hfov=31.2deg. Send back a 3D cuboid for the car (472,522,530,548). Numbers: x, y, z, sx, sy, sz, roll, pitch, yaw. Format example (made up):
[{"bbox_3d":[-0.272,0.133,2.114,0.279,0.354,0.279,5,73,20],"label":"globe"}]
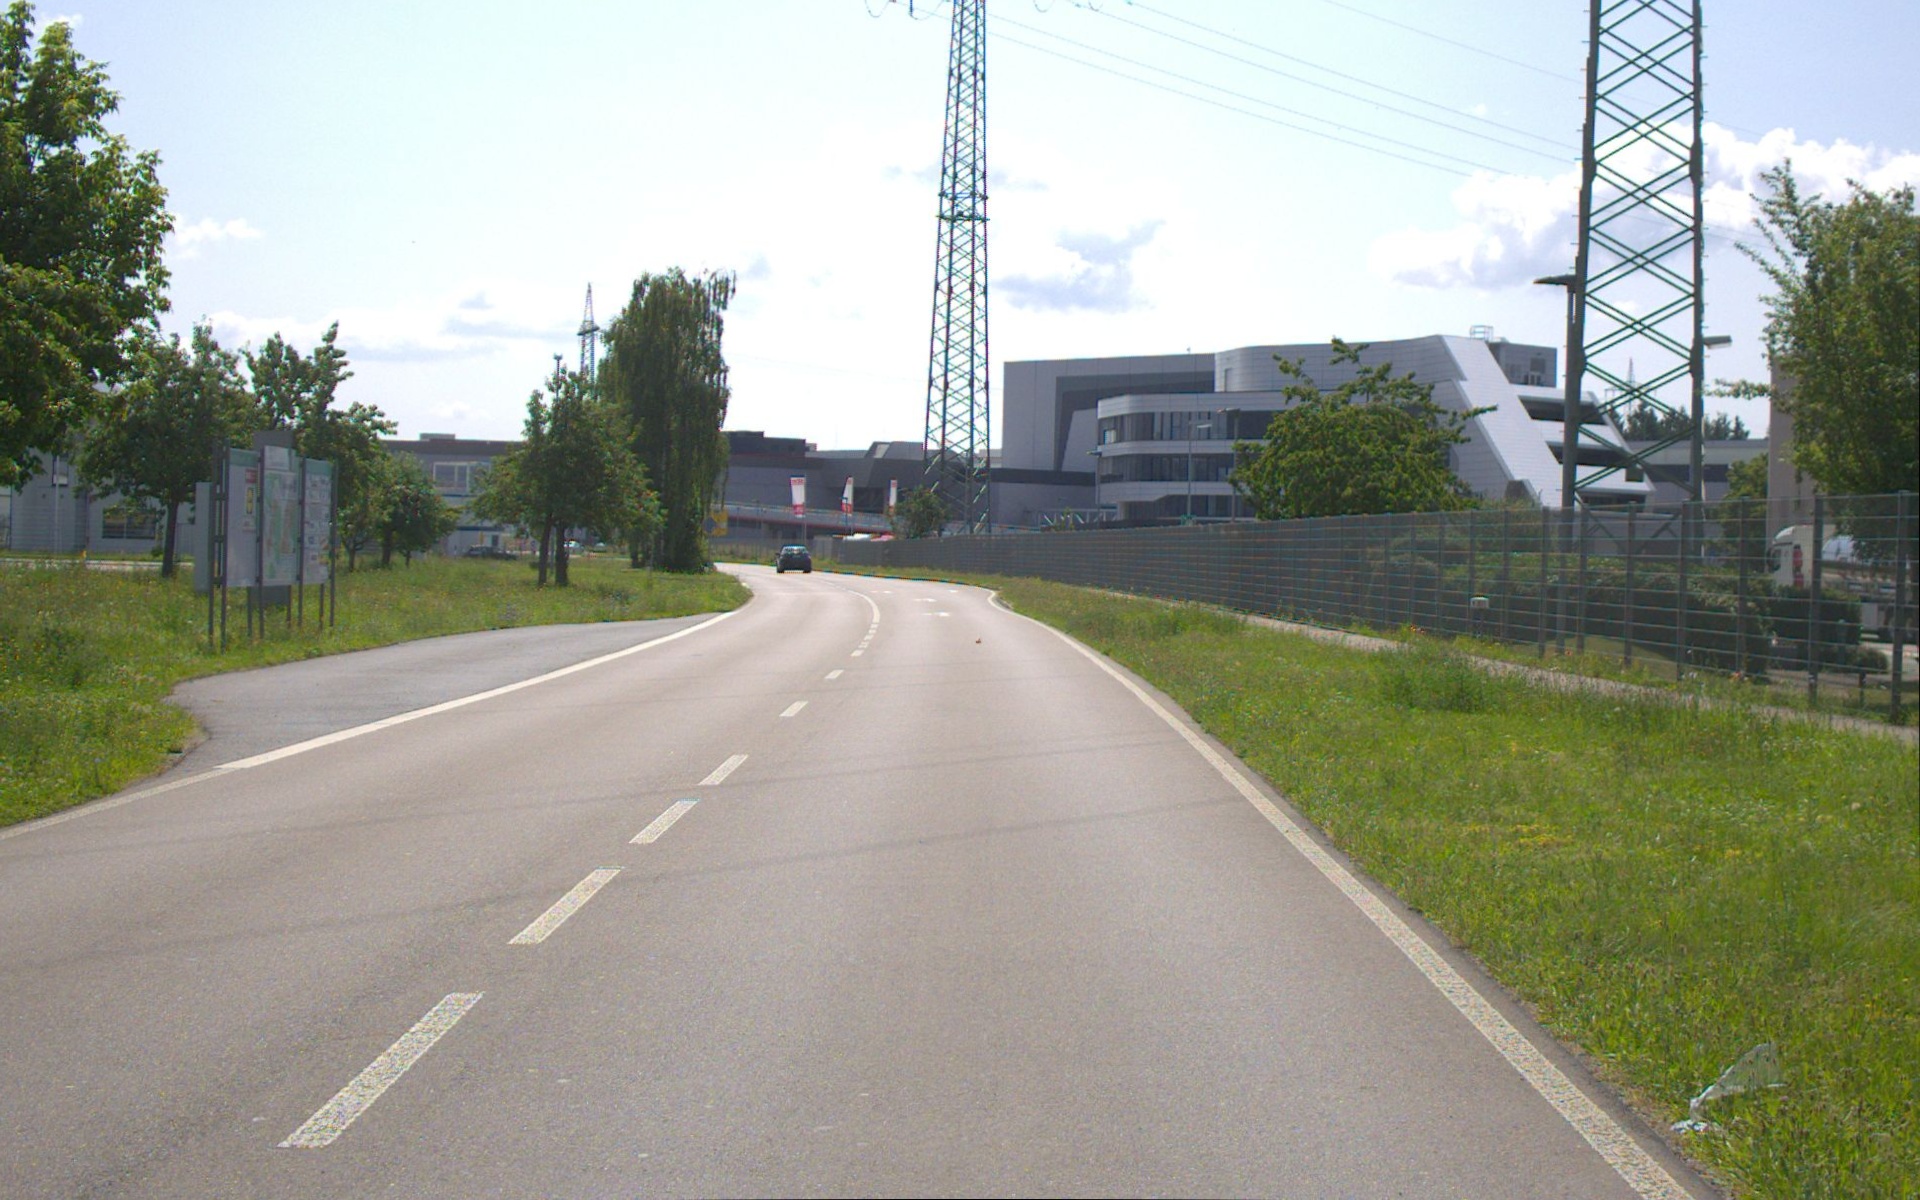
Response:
[{"bbox_3d":[-32.786,-4.648,245.712,3.986,1.568,2.000,4,-1,-8],"label":"car"}]

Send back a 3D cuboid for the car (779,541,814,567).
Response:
[{"bbox_3d":[-9.487,-2.643,199.048,2.012,1.503,4.001,0,1,-3],"label":"car"}]

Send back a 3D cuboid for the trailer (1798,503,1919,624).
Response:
[{"bbox_3d":[30.666,-1.187,109.455,3.589,3.722,12.241,1,1,-7],"label":"trailer"}]
